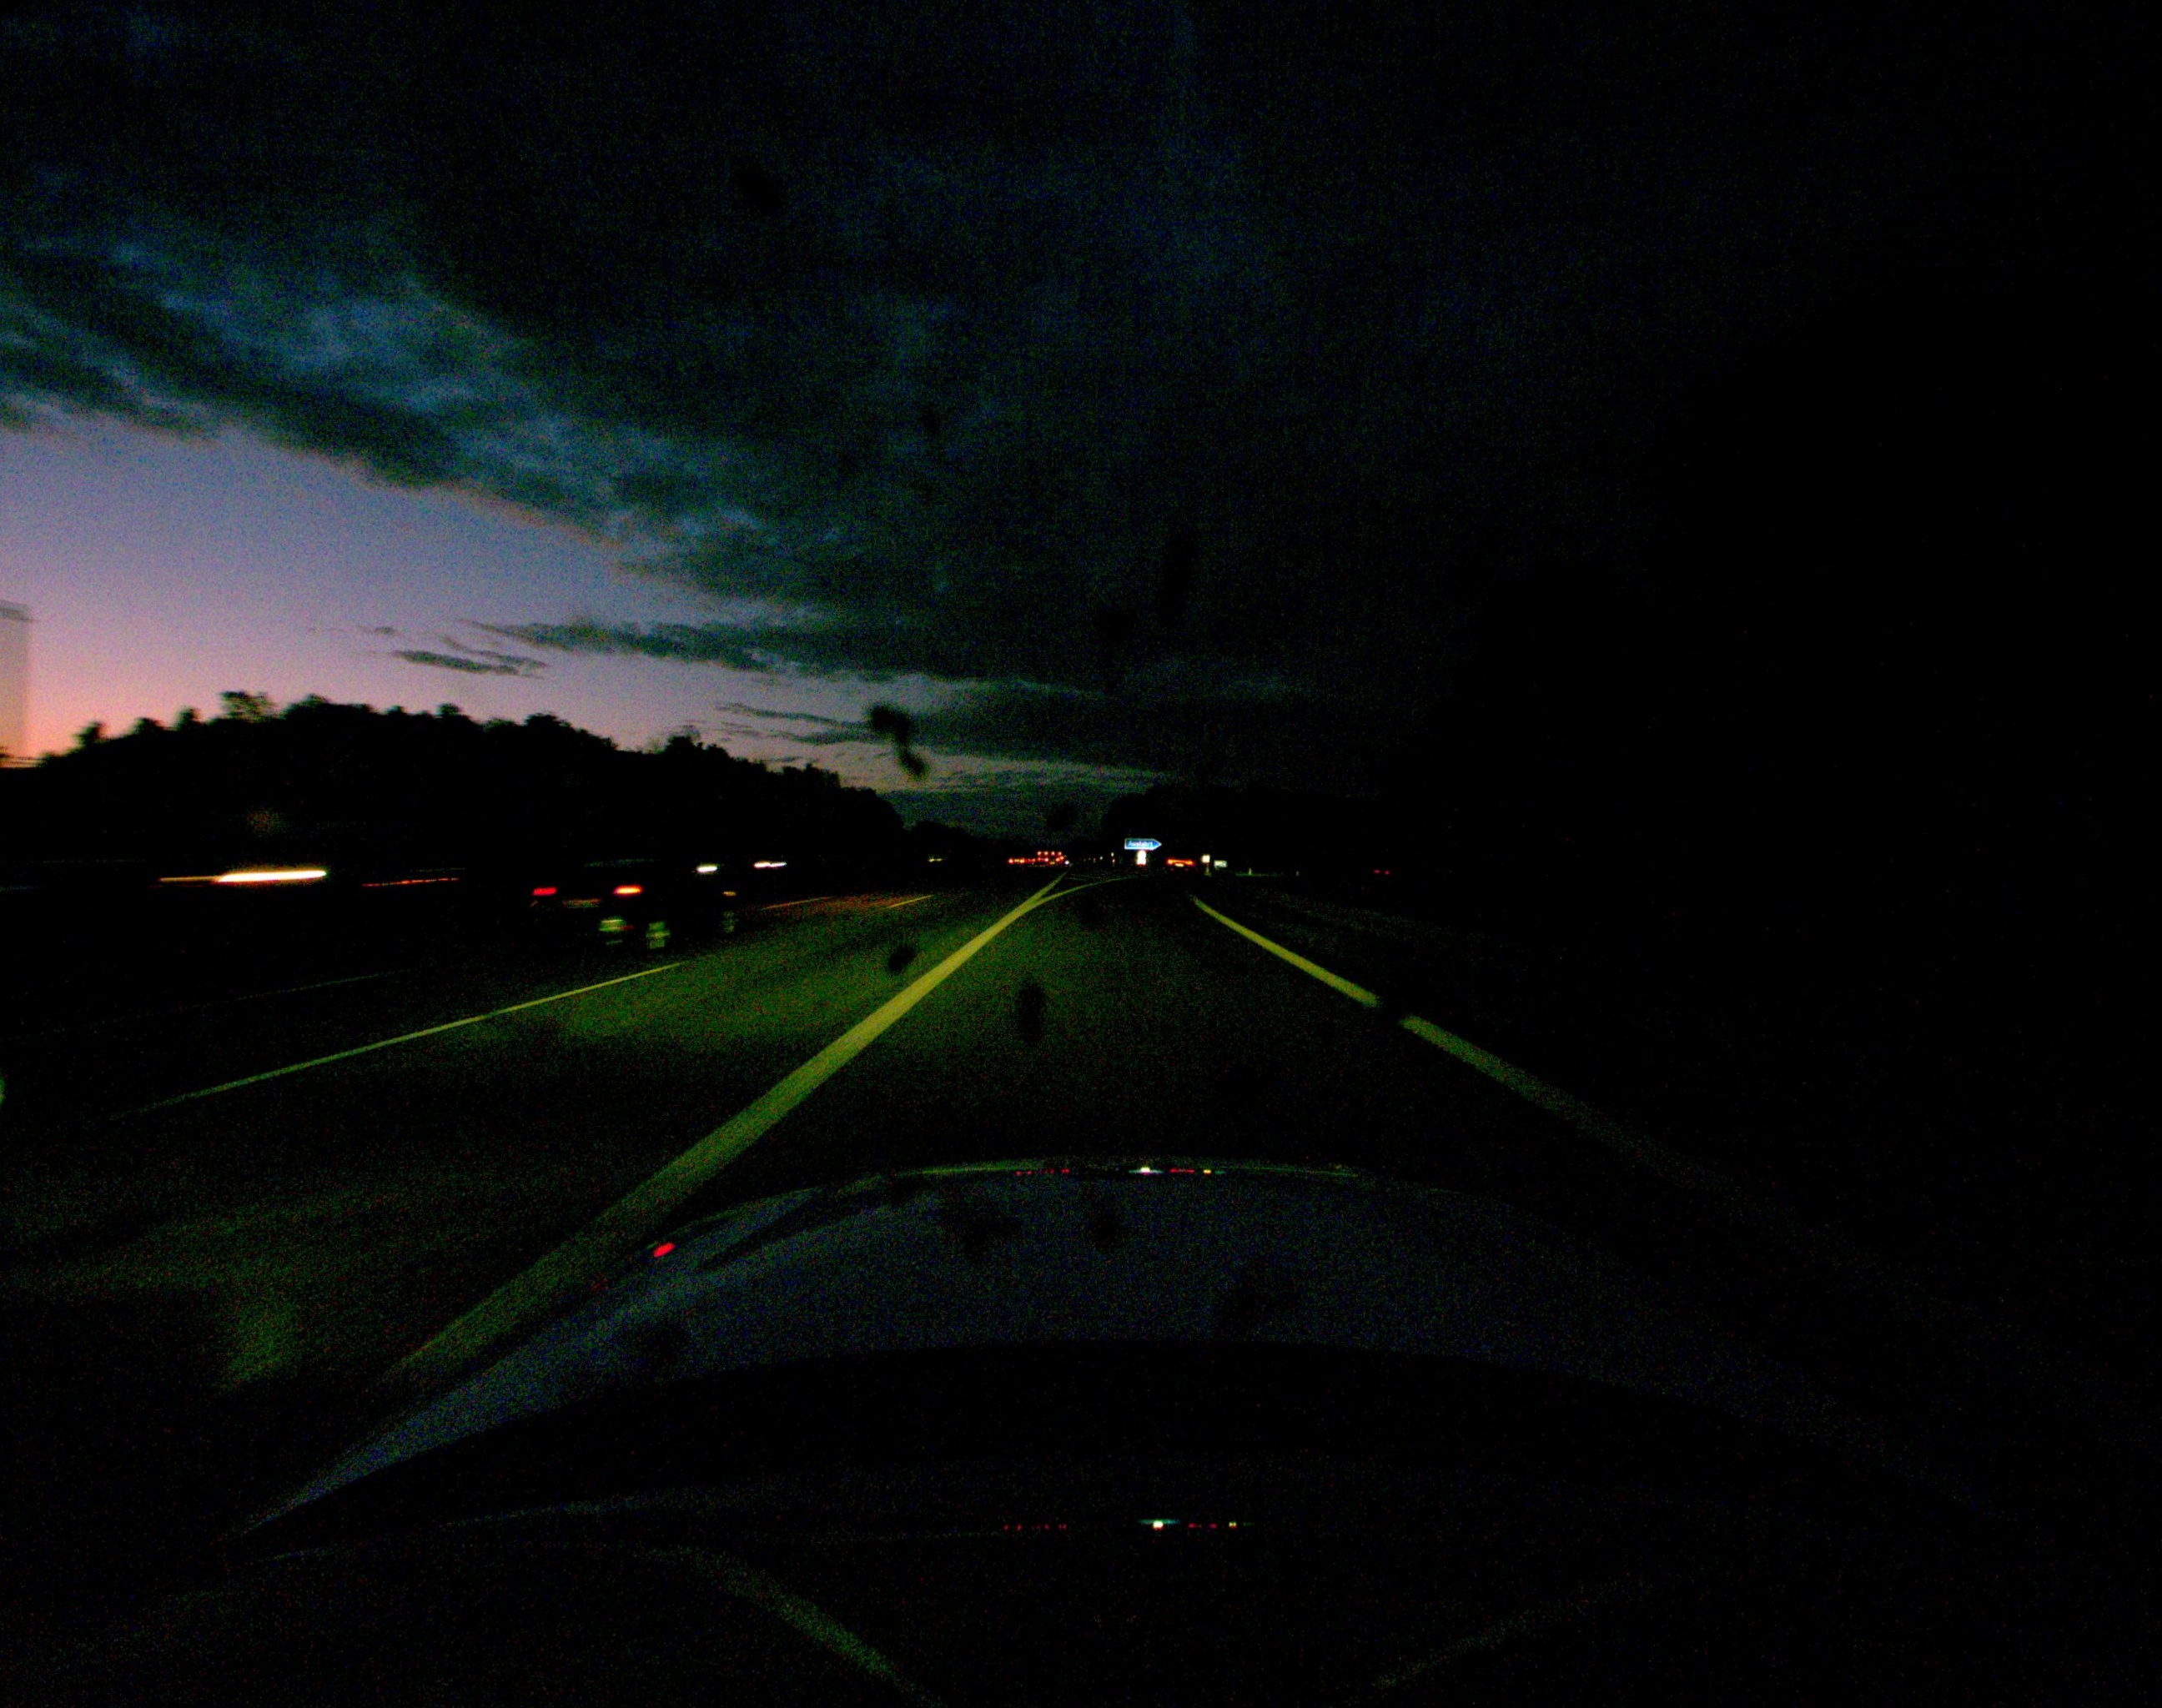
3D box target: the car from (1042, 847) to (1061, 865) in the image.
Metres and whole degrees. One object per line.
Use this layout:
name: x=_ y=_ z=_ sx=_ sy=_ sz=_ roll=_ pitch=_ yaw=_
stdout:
car: x=-3.403 y=0.187 z=94.704 sx=1.986 sy=2.013 sz=4.002 roll=0 pitch=0 yaw=2

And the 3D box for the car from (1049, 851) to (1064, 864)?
car: x=-3.765 y=0.501 z=127.923 sx=1.985 sy=2.013 sz=4.003 roll=-1 pitch=0 yaw=3

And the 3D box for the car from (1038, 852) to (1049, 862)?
car: x=-8.131 y=0.608 z=175.167 sx=2.064 sy=2.013 sz=4.000 roll=-1 pitch=0 yaw=0

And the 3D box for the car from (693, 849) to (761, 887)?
car: x=-19.914 y=0.747 z=46.020 sx=1.986 sy=2.013 sz=4.001 roll=1 pitch=0 yaw=1

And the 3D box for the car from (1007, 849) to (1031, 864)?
car: x=-7.241 y=0.298 z=94.889 sx=1.983 sy=1.642 sz=4.562 roll=-1 pitch=0 yaw=6

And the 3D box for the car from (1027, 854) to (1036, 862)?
car: x=-12.427 y=0.957 z=206.280 sx=2.099 sy=2.013 sz=3.997 roll=-2 pitch=0 yaw=-2

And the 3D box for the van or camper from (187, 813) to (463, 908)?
van or camper: x=-23.150 y=0.178 z=25.529 sx=2.508 sy=2.595 sz=6.489 roll=0 pitch=0 yaw=1

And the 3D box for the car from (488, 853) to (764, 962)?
car: x=-7.373 y=0.763 z=13.877 sx=1.986 sy=1.498 sz=4.551 roll=-1 pitch=0 yaw=2

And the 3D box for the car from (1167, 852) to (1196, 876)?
car: x=7.094 y=0.695 z=57.699 sx=1.983 sy=1.659 sz=4.322 roll=-1 pitch=0 yaw=6

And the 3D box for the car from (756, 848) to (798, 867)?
car: x=-26.205 y=0.304 z=70.292 sx=1.987 sy=1.549 sz=4.000 roll=1 pitch=0 yaw=1
